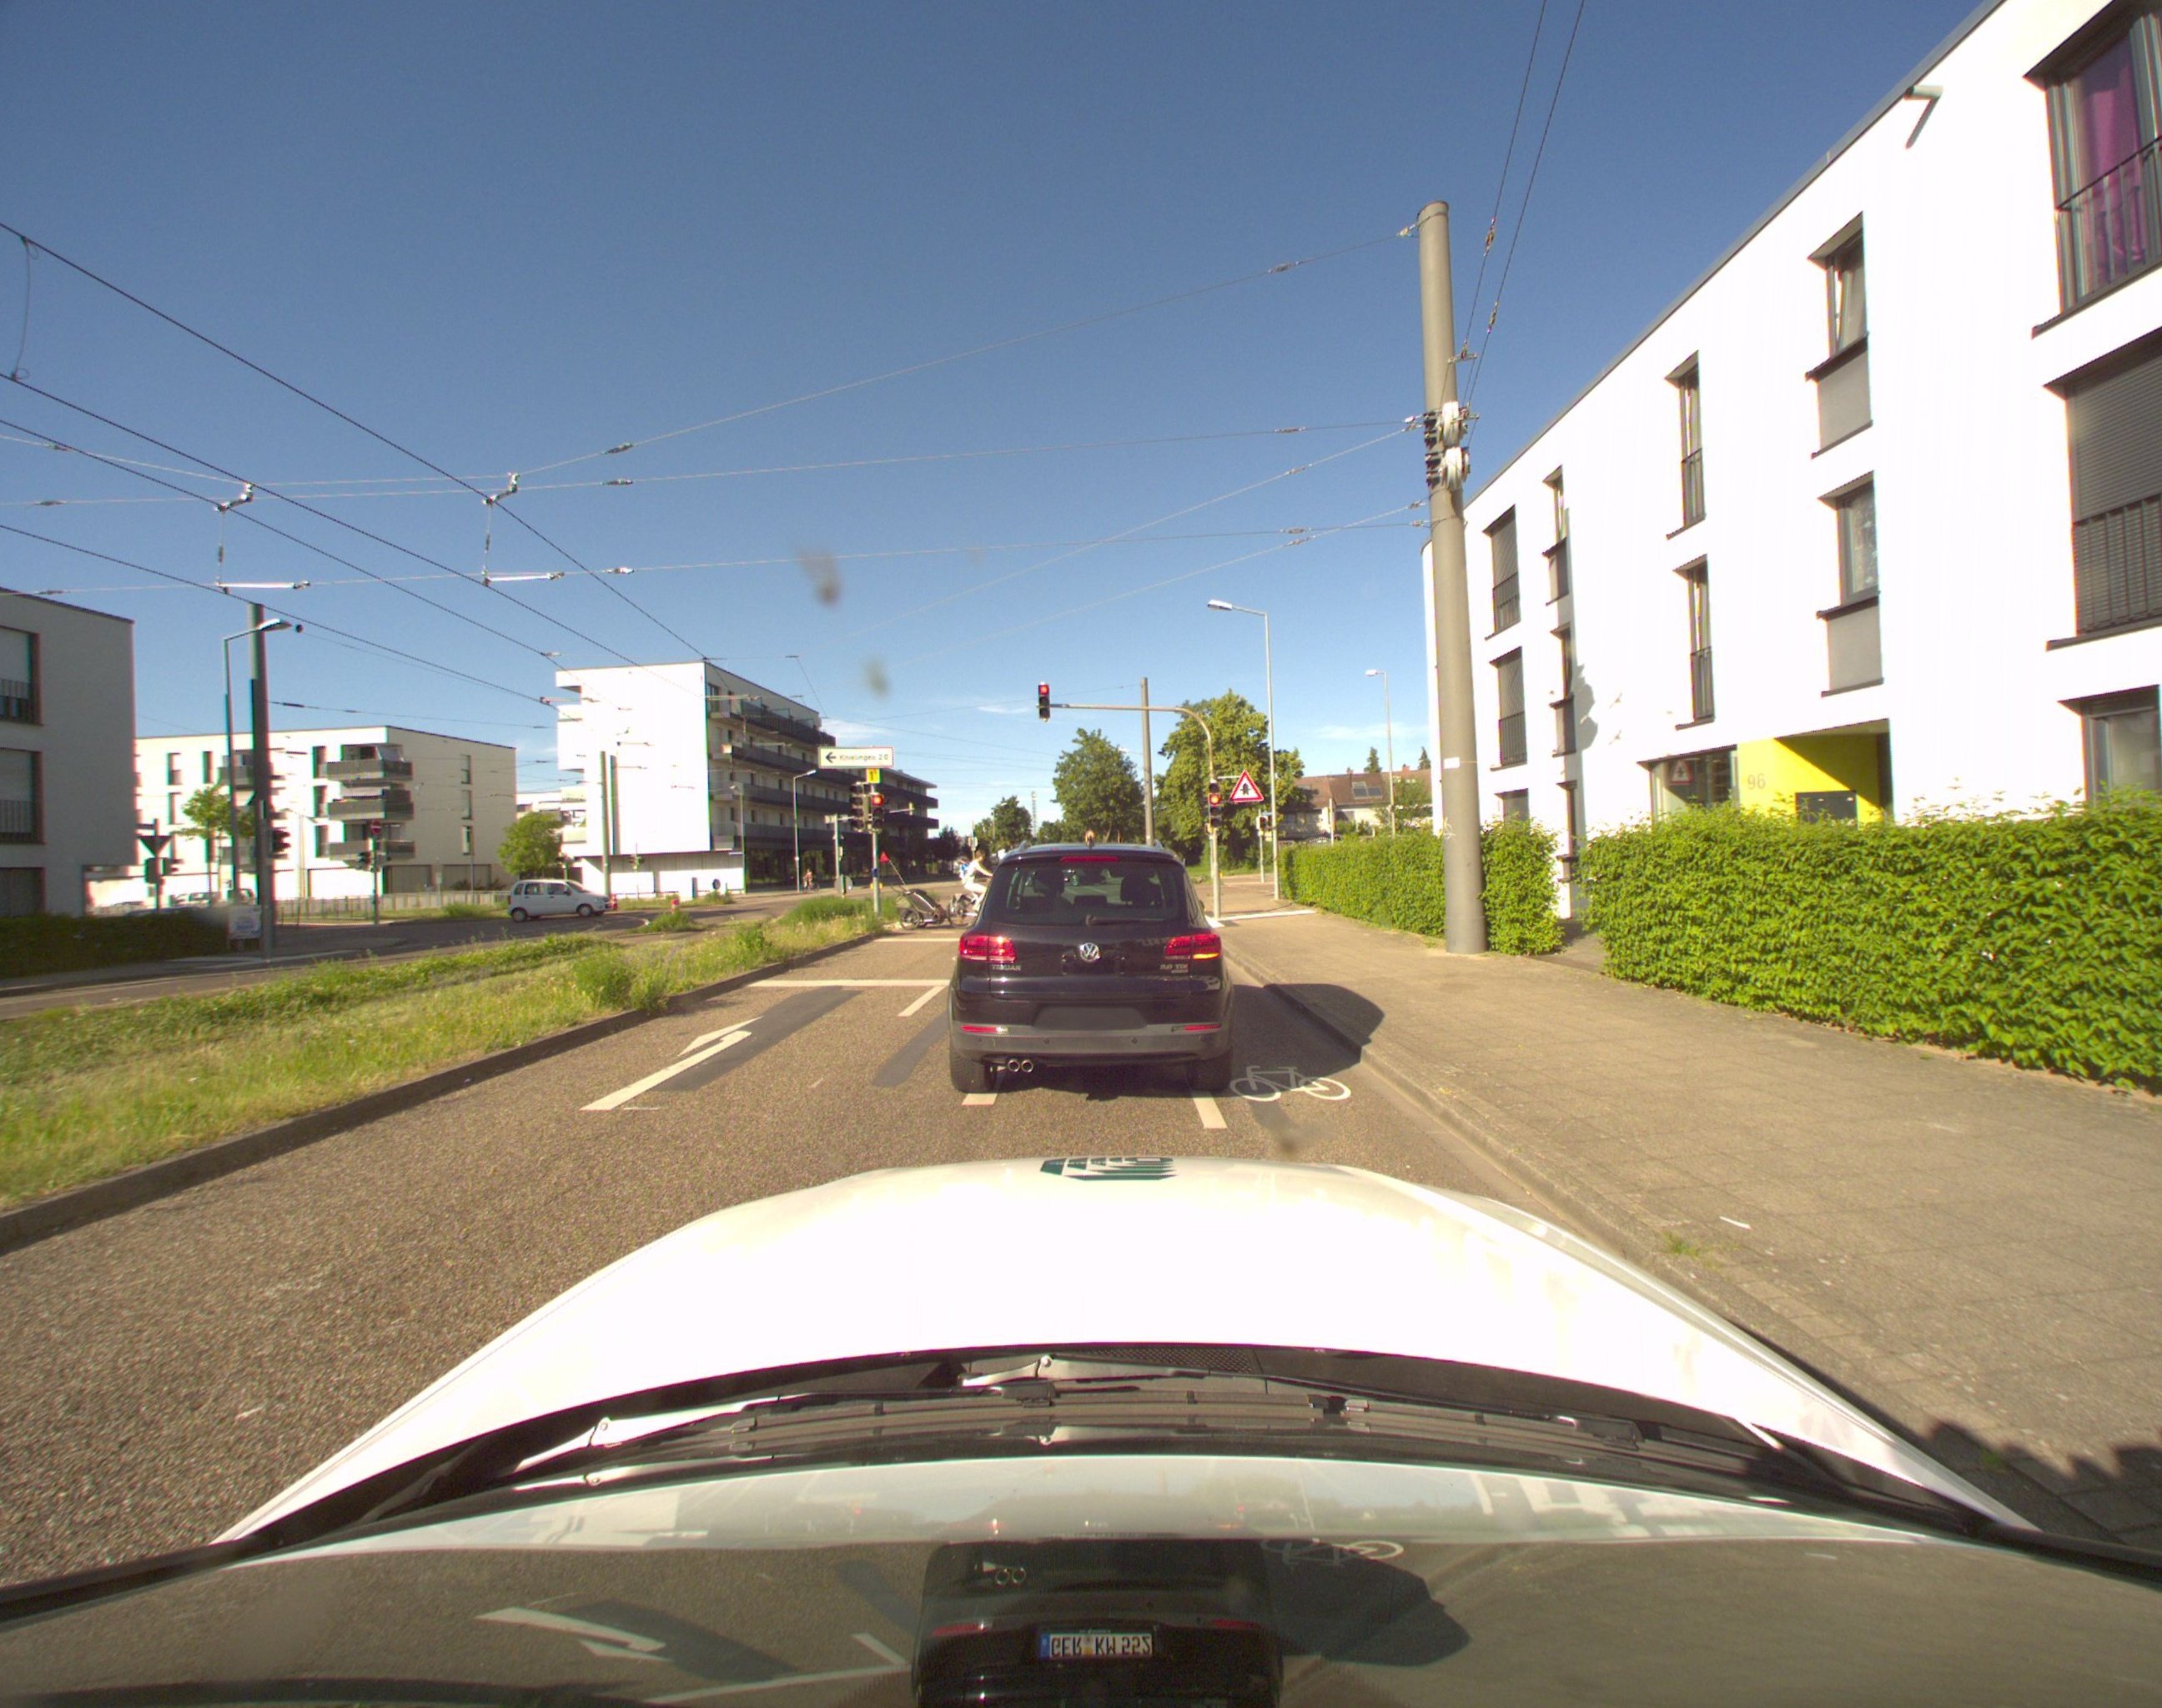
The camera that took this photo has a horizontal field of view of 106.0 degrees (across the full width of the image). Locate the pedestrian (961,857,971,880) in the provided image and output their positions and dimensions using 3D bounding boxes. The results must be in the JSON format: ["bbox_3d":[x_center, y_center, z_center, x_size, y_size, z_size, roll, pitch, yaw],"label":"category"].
[{"bbox_3d":[-8.570,1.086,60.698,0.600,1.640,0.530,-1,0,6],"label":"pedestrian"}]

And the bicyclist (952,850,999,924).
[{"bbox_3d":[-2.390,0.726,18.500,0.906,1.630,0.976,-1,0,1],"label":"bicyclist"}]

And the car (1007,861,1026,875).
[{"bbox_3d":[-7.698,1.647,97.244,1.648,1.640,4.004,-1,0,4],"label":"car"}]

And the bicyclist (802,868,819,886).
[{"bbox_3d":[-19.409,1.659,58.442,0.833,1.236,0.747,-1,0,26],"label":"bicyclist"}]

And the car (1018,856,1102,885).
[{"bbox_3d":[-1.146,0.916,45.717,4.474,1.504,2.003,-1,0,6],"label":"car"}]

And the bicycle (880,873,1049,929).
[{"bbox_3d":[-2.595,1.055,18.517,3.670,1.174,0.999,1,0,0],"label":"bicycle"}]

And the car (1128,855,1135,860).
[{"bbox_3d":[13.277,0.912,215.267,1.745,1.387,4.000,-1,0,0],"label":"car"}]

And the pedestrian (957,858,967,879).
[{"bbox_3d":[-8.757,1.077,59.980,0.600,1.565,0.530,-1,0,6],"label":"pedestrian"}]

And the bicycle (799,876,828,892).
[{"bbox_3d":[-19.277,2.127,58.618,0.958,1.085,1.845,-1,0,25],"label":"bicycle"}]

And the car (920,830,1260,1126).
[{"bbox_3d":[0.072,0.701,6.605,1.899,1.643,4.000,-1,0,0],"label":"car"}]

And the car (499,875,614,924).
[{"bbox_3d":[-21.299,1.802,33.199,3.496,1.652,1.585,-4,0,-14],"label":"car"}]

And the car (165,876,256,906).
[{"bbox_3d":[-58.718,2.473,54.988,3.974,1.838,2.000,-1,0,0],"label":"car"}]

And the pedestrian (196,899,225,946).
[{"bbox_3d":[-28.790,2.252,26.943,0.562,1.464,0.734,-1,0,-40],"label":"pedestrian"}]

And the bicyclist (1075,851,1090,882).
[{"bbox_3d":[0.115,0.745,48.082,0.799,1.807,0.685,-1,0,5],"label":"bicyclist"}]

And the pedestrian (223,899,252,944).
[{"bbox_3d":[-28.290,2.249,27.320,0.561,1.464,0.605,-1,0,-36],"label":"pedestrian"}]
